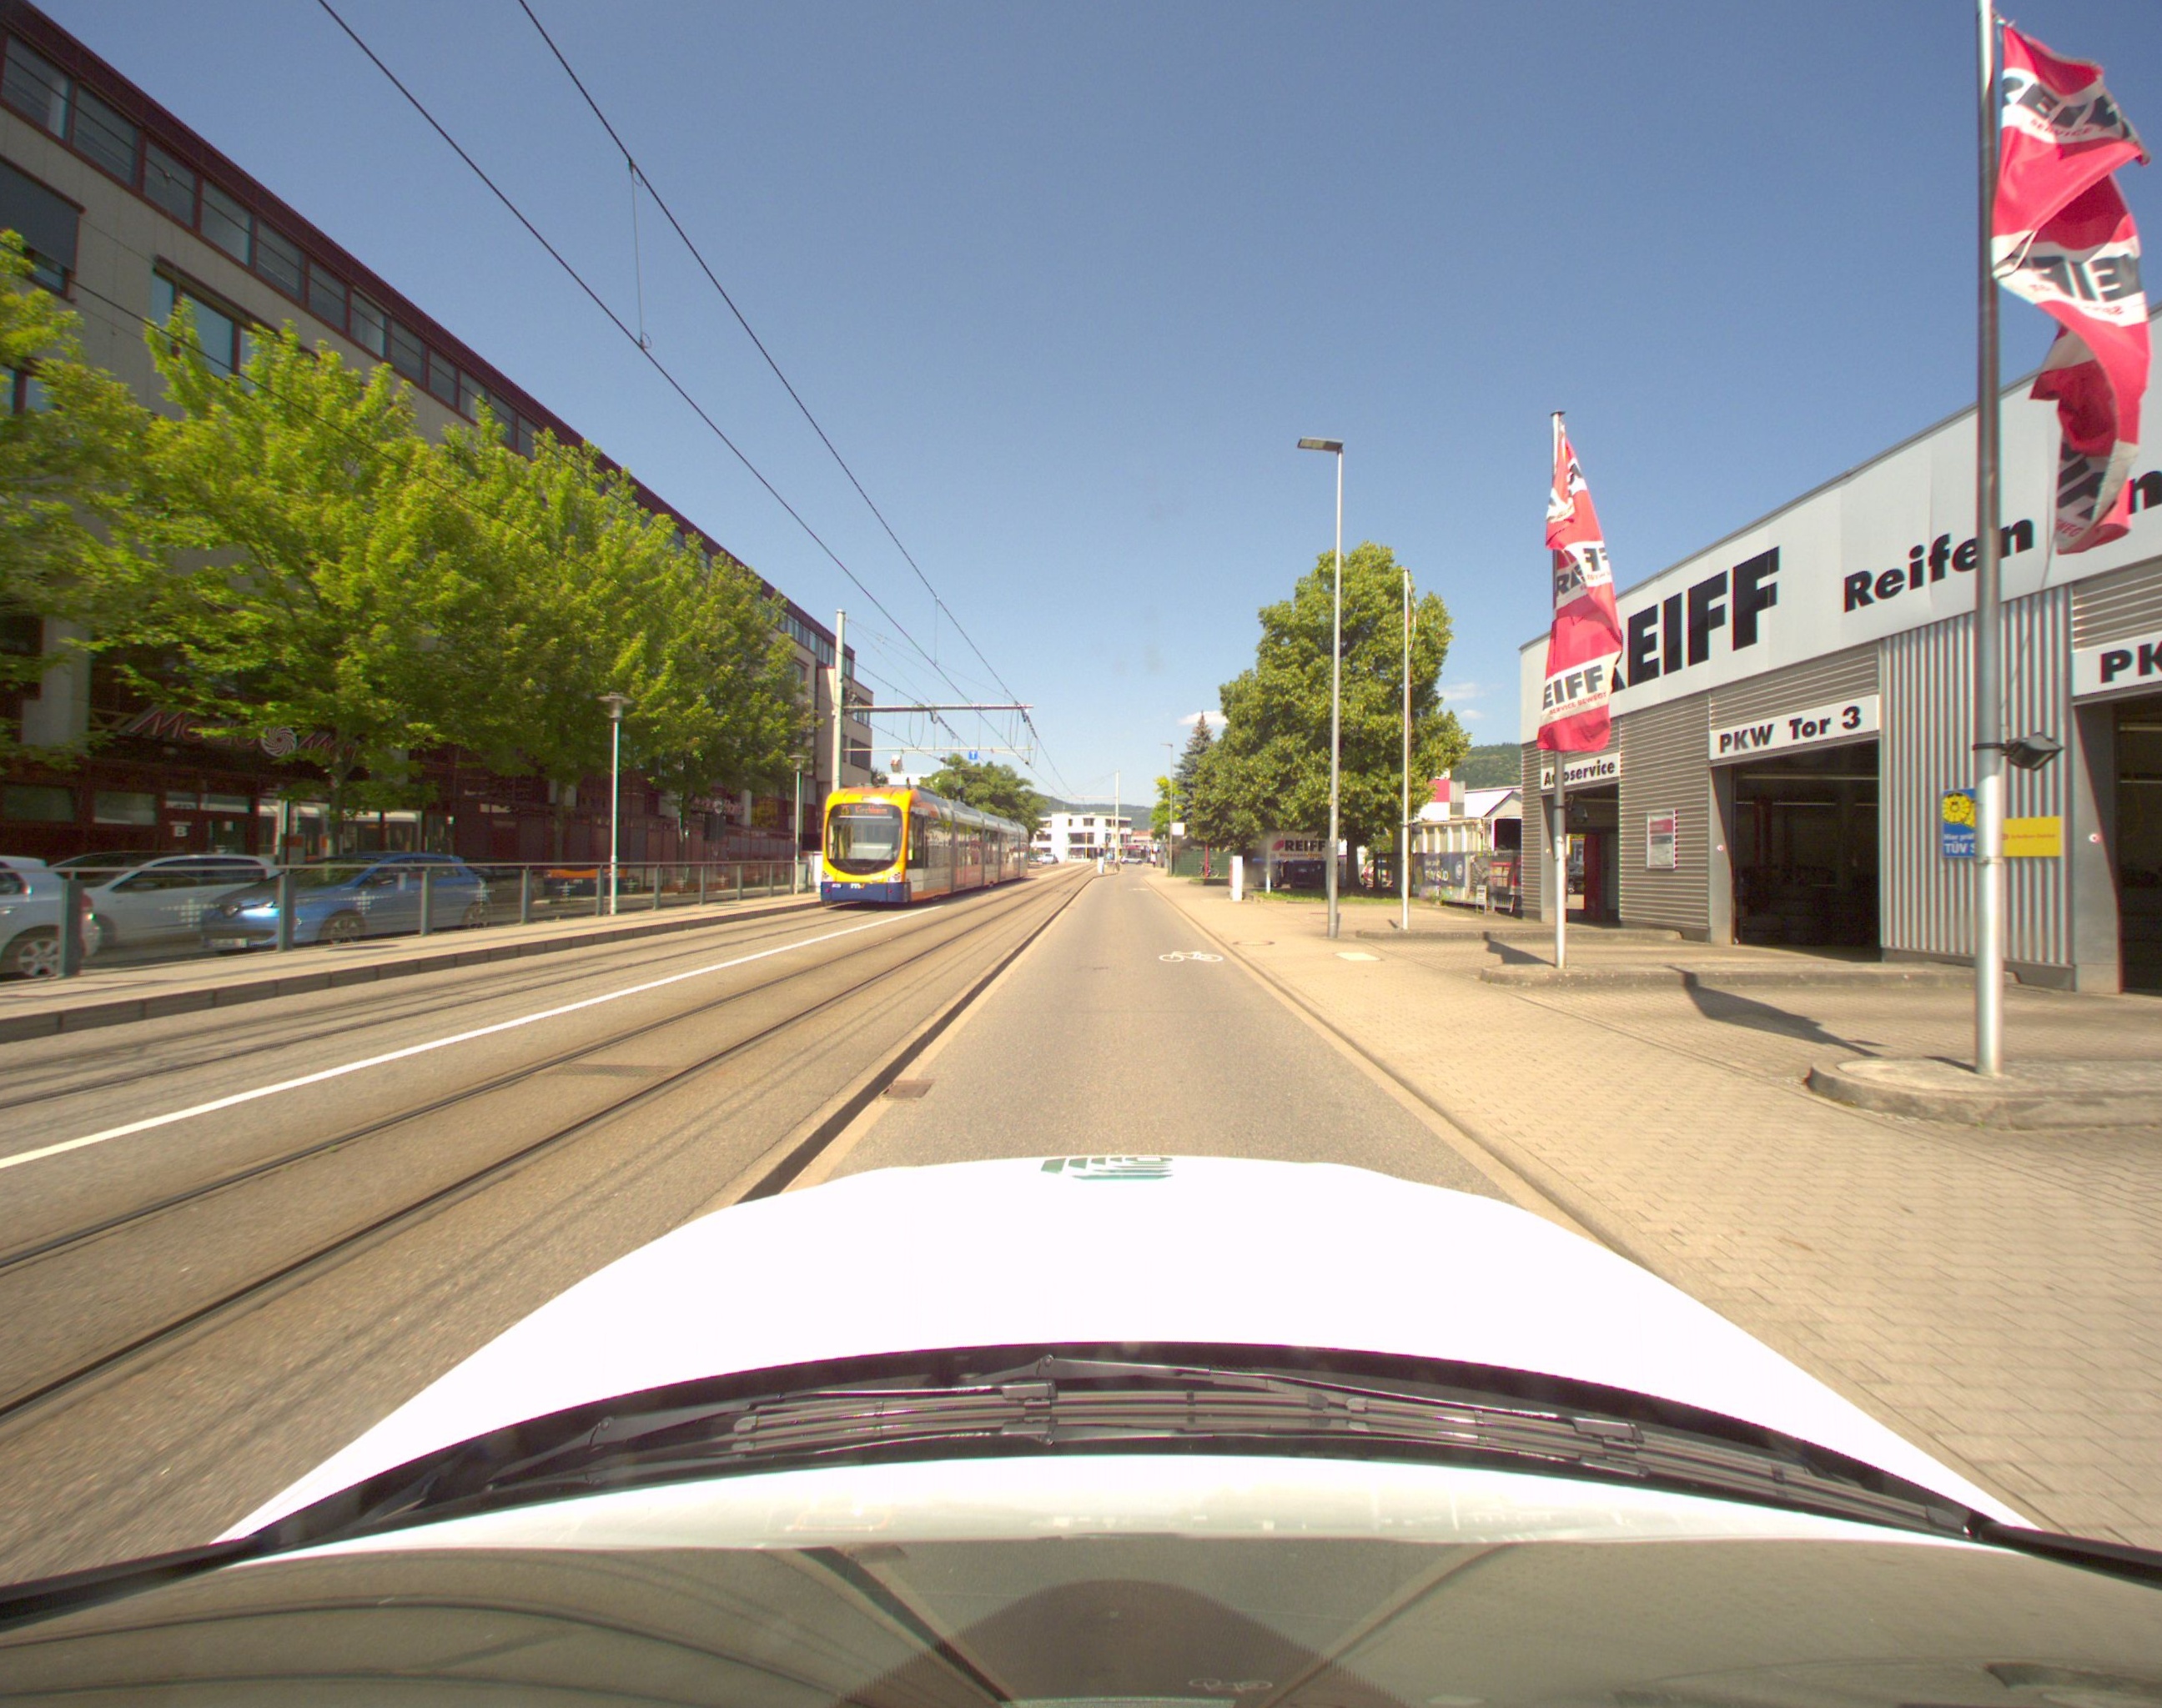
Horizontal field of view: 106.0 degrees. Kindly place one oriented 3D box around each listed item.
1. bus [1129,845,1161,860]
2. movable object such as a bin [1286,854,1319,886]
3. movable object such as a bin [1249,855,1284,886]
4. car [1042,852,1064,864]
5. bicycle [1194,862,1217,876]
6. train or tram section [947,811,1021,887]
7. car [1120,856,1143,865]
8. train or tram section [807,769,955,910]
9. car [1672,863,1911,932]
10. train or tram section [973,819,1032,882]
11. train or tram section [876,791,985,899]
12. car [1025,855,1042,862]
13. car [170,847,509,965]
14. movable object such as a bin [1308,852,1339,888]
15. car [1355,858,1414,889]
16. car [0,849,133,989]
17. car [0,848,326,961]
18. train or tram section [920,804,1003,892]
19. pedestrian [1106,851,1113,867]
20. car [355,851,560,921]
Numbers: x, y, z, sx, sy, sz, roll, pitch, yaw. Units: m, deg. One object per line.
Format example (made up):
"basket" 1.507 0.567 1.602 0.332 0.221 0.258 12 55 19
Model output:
"bus" 12.922 -0.326 166.394 2.448 2.880 8.717 1 0 -26
"movable object such as a bin" 10.273 0.728 37.679 1.304 1.430 0.890 0 -2 27
"movable object such as a bin" 8.725 0.769 38.326 1.371 1.430 0.996 0 -2 27
"car" -5.015 0.706 144.668 1.842 1.937 4.025 3 1 35
"bicycle" 8.559 1.038 55.988 1.466 0.991 0.388 0 -4 1
"train or tram section" -4.696 -0.208 40.647 2.570 3.447 7.140 0 0 2
"car" 9.516 1.252 153.614 3.977 1.750 1.774 1 0 -3
"train or tram section" -5.436 -0.350 23.225 2.601 3.533 5.745 0 0 2
"car" 15.218 0.911 17.568 3.752 1.376 1.723 0 0 -3
"train or tram section" -4.435 -0.179 47.410 2.570 3.447 6.365 0 0 2
"train or tram section" -5.176 -0.284 29.032 2.601 3.447 5.846 0 0 2
"car" -10.284 0.976 177.680 1.800 1.552 3.955 0 0 -37
"car" -11.755 0.737 13.372 1.716 1.584 4.072 -2 0 1
"movable object such as a bin" 10.707 0.734 35.991 0.975 1.547 1.320 1 -2 -1
"car" 15.475 0.971 41.737 1.736 1.460 4.003 1 0 3
"car" -12.220 0.688 7.578 1.716 1.472 4.281 -1 0 1
"car" -14.759 0.680 12.930 1.715 1.463 3.907 2 0 3
"train or tram section" -4.937 -0.235 34.537 2.601 3.447 5.013 0 0 2
"pedestrian" 3.145 0.565 90.689 0.740 1.740 0.728 0 0 2
"car" -15.060 0.713 19.988 1.753 1.519 4.003 1 0 3
